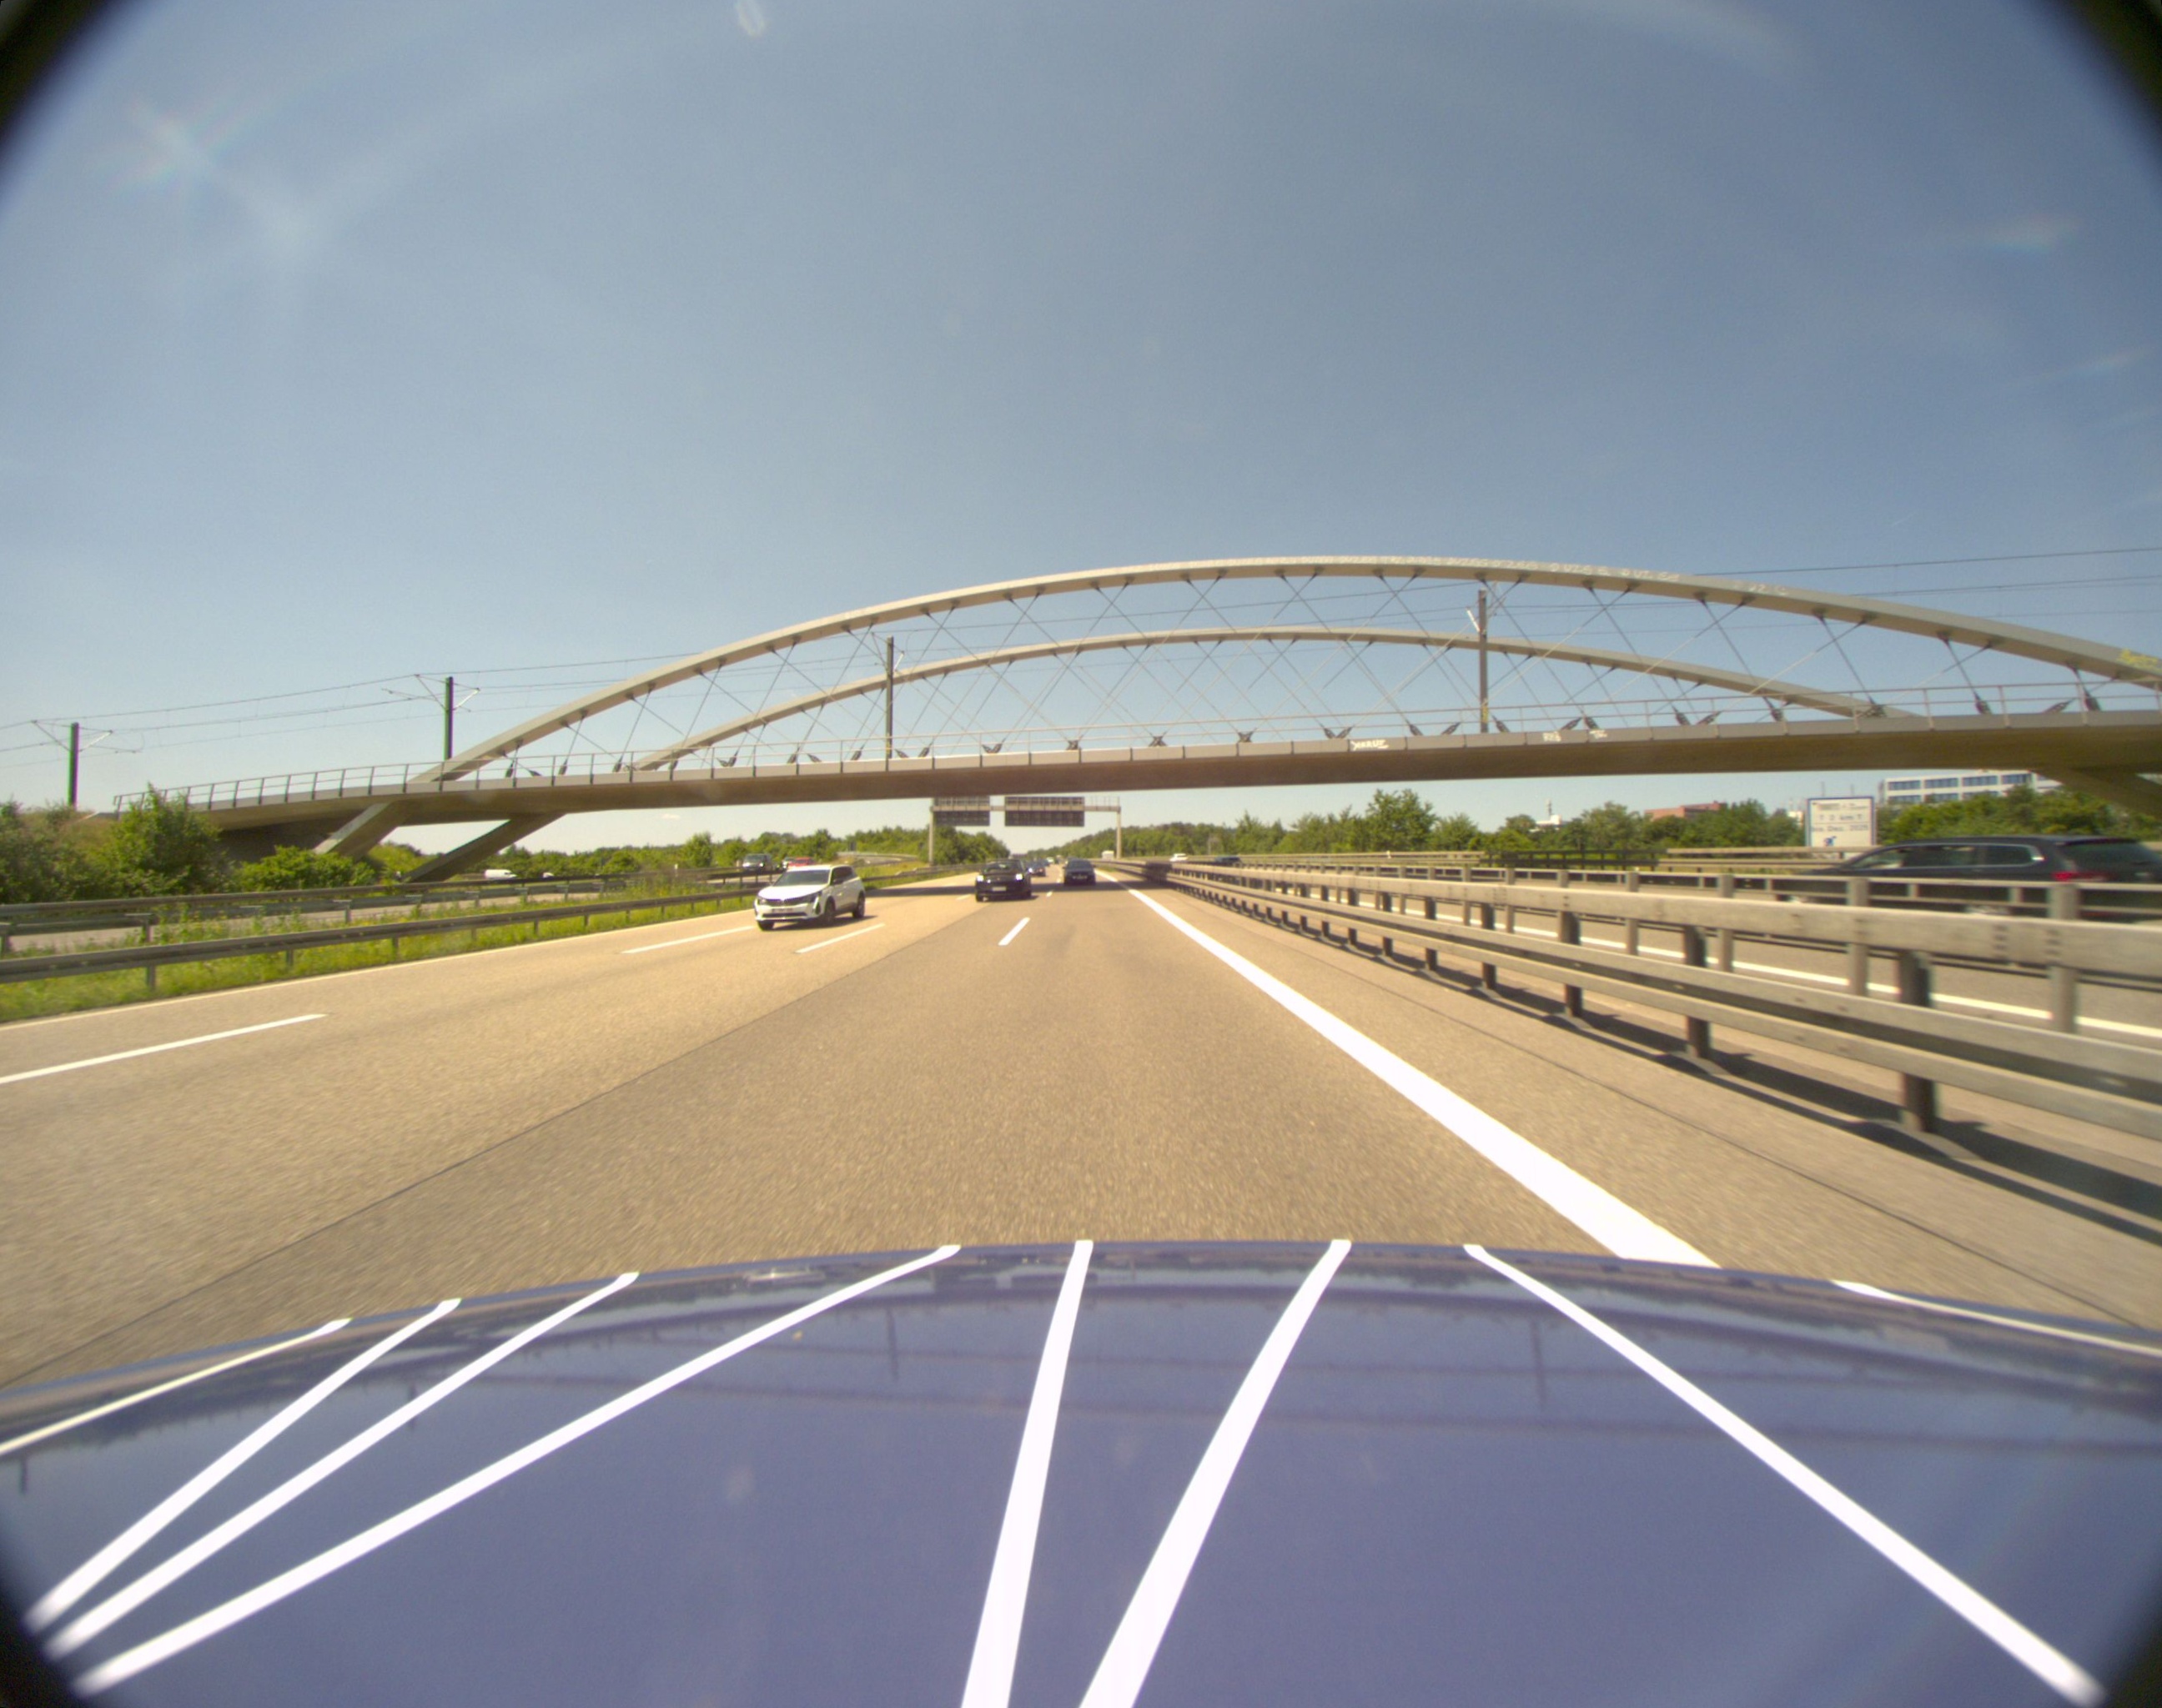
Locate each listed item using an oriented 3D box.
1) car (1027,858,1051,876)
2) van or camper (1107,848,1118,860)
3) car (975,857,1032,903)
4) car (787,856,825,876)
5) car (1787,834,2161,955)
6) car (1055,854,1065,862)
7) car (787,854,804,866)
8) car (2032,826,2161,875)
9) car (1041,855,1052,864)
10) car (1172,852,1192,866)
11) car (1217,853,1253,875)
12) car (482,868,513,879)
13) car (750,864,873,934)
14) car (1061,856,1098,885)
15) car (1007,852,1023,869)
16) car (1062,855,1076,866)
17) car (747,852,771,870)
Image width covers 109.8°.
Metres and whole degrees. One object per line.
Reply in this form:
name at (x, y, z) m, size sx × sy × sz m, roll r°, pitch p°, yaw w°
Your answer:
car at (-3.639, 1.131, 66.372) m, size 1.932 × 1.390 × 4.117 m, roll -2°, pitch 0°, yaw -1°
van or camper at (8.004, -0.002, 195.731) m, size 2.450 × 3.069 × 8.122 m, roll -2°, pitch 0°, yaw 1°
car at (-2.989, 0.963, 30.213) m, size 1.932 × 1.585 × 4.131 m, roll -2°, pitch 0°, yaw -2°
car at (-22.970, 0.967, 63.570) m, size 1.932 × 1.585 × 4.130 m, roll -2°, pitch 0°, yaw -6°
car at (13.824, 0.485, 11.755) m, size 1.662 × 1.455 × 4.445 m, roll -3°, pitch 0°, yaw 1°
car at (-5.202, 0.894, 189.237) m, size 1.998 × 1.849 × 4.001 m, roll -2°, pitch 0°, yaw 3°
car at (-38.997, 0.856, 103.763) m, size 1.707 × 1.565 × 4.120 m, roll -2°, pitch 0°, yaw -25°
car at (37.155, -0.142, 26.745) m, size 1.998 × 1.608 × 4.323 m, roll -2°, pitch 0°, yaw 1°
car at (-6.390, 0.998, 140.170) m, size 1.932 × 1.390 × 4.117 m, roll -2°, pitch 0°, yaw -1°
car at (12.728, 0.607, 96.066) m, size 1.933 × 1.629 × 4.977 m, roll -2°, pitch 0°, yaw 1°
car at (10.183, 0.643, 50.497) m, size 1.634 × 1.403 × 4.100 m, roll -1°, pitch 0°, yaw 1°
car at (-145.645, 4.911, 189.665) m, size 5.814 × 2.447 × 2.083 m, roll -2°, pitch 1°, yaw -10°
car at (-7.318, 1.145, 21.175) m, size 1.748 × 1.582 × 4.619 m, roll -2°, pitch 0°, yaw -1°
car at (-0.012, 0.919, 44.319) m, size 1.931 × 1.499 × 4.391 m, roll -2°, pitch 0°, yaw 2°
car at (-8.026, 0.729, 92.040) m, size 1.809 × 1.908 × 4.293 m, roll -2°, pitch 0°, yaw -5°
car at (-1.669, 0.931, 104.101) m, size 1.932 × 1.390 × 4.117 m, roll -2°, pitch 0°, yaw -1°
car at (-30.634, 0.651, 72.318) m, size 1.706 × 1.565 × 4.122 m, roll -2°, pitch 0°, yaw -18°
